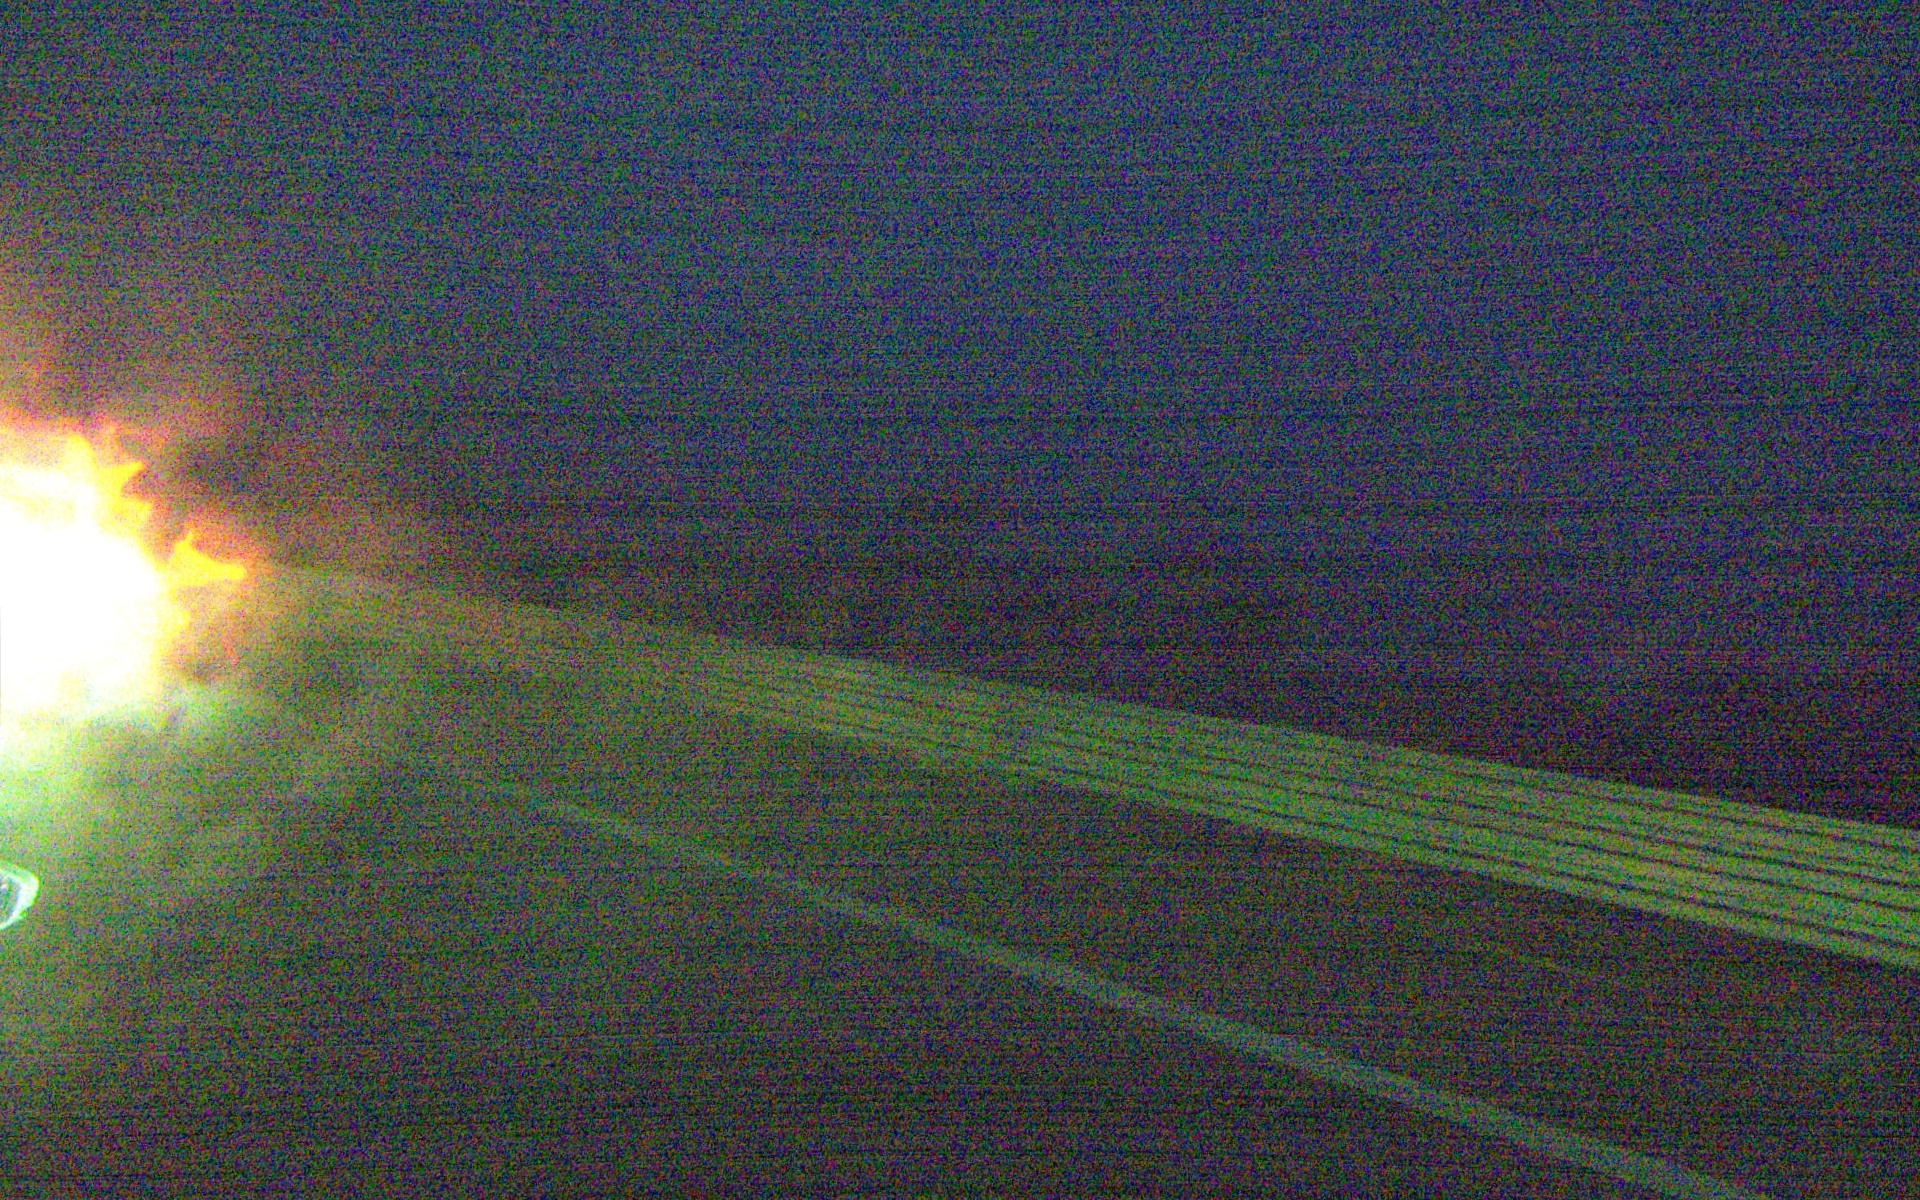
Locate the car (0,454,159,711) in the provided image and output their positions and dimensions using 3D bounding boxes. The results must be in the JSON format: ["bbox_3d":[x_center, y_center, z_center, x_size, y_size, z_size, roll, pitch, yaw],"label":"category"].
[{"bbox_3d":[-8.947,-0.395,8.337,5.039,1.815,1.955,7,1,32],"label":"car"}]
